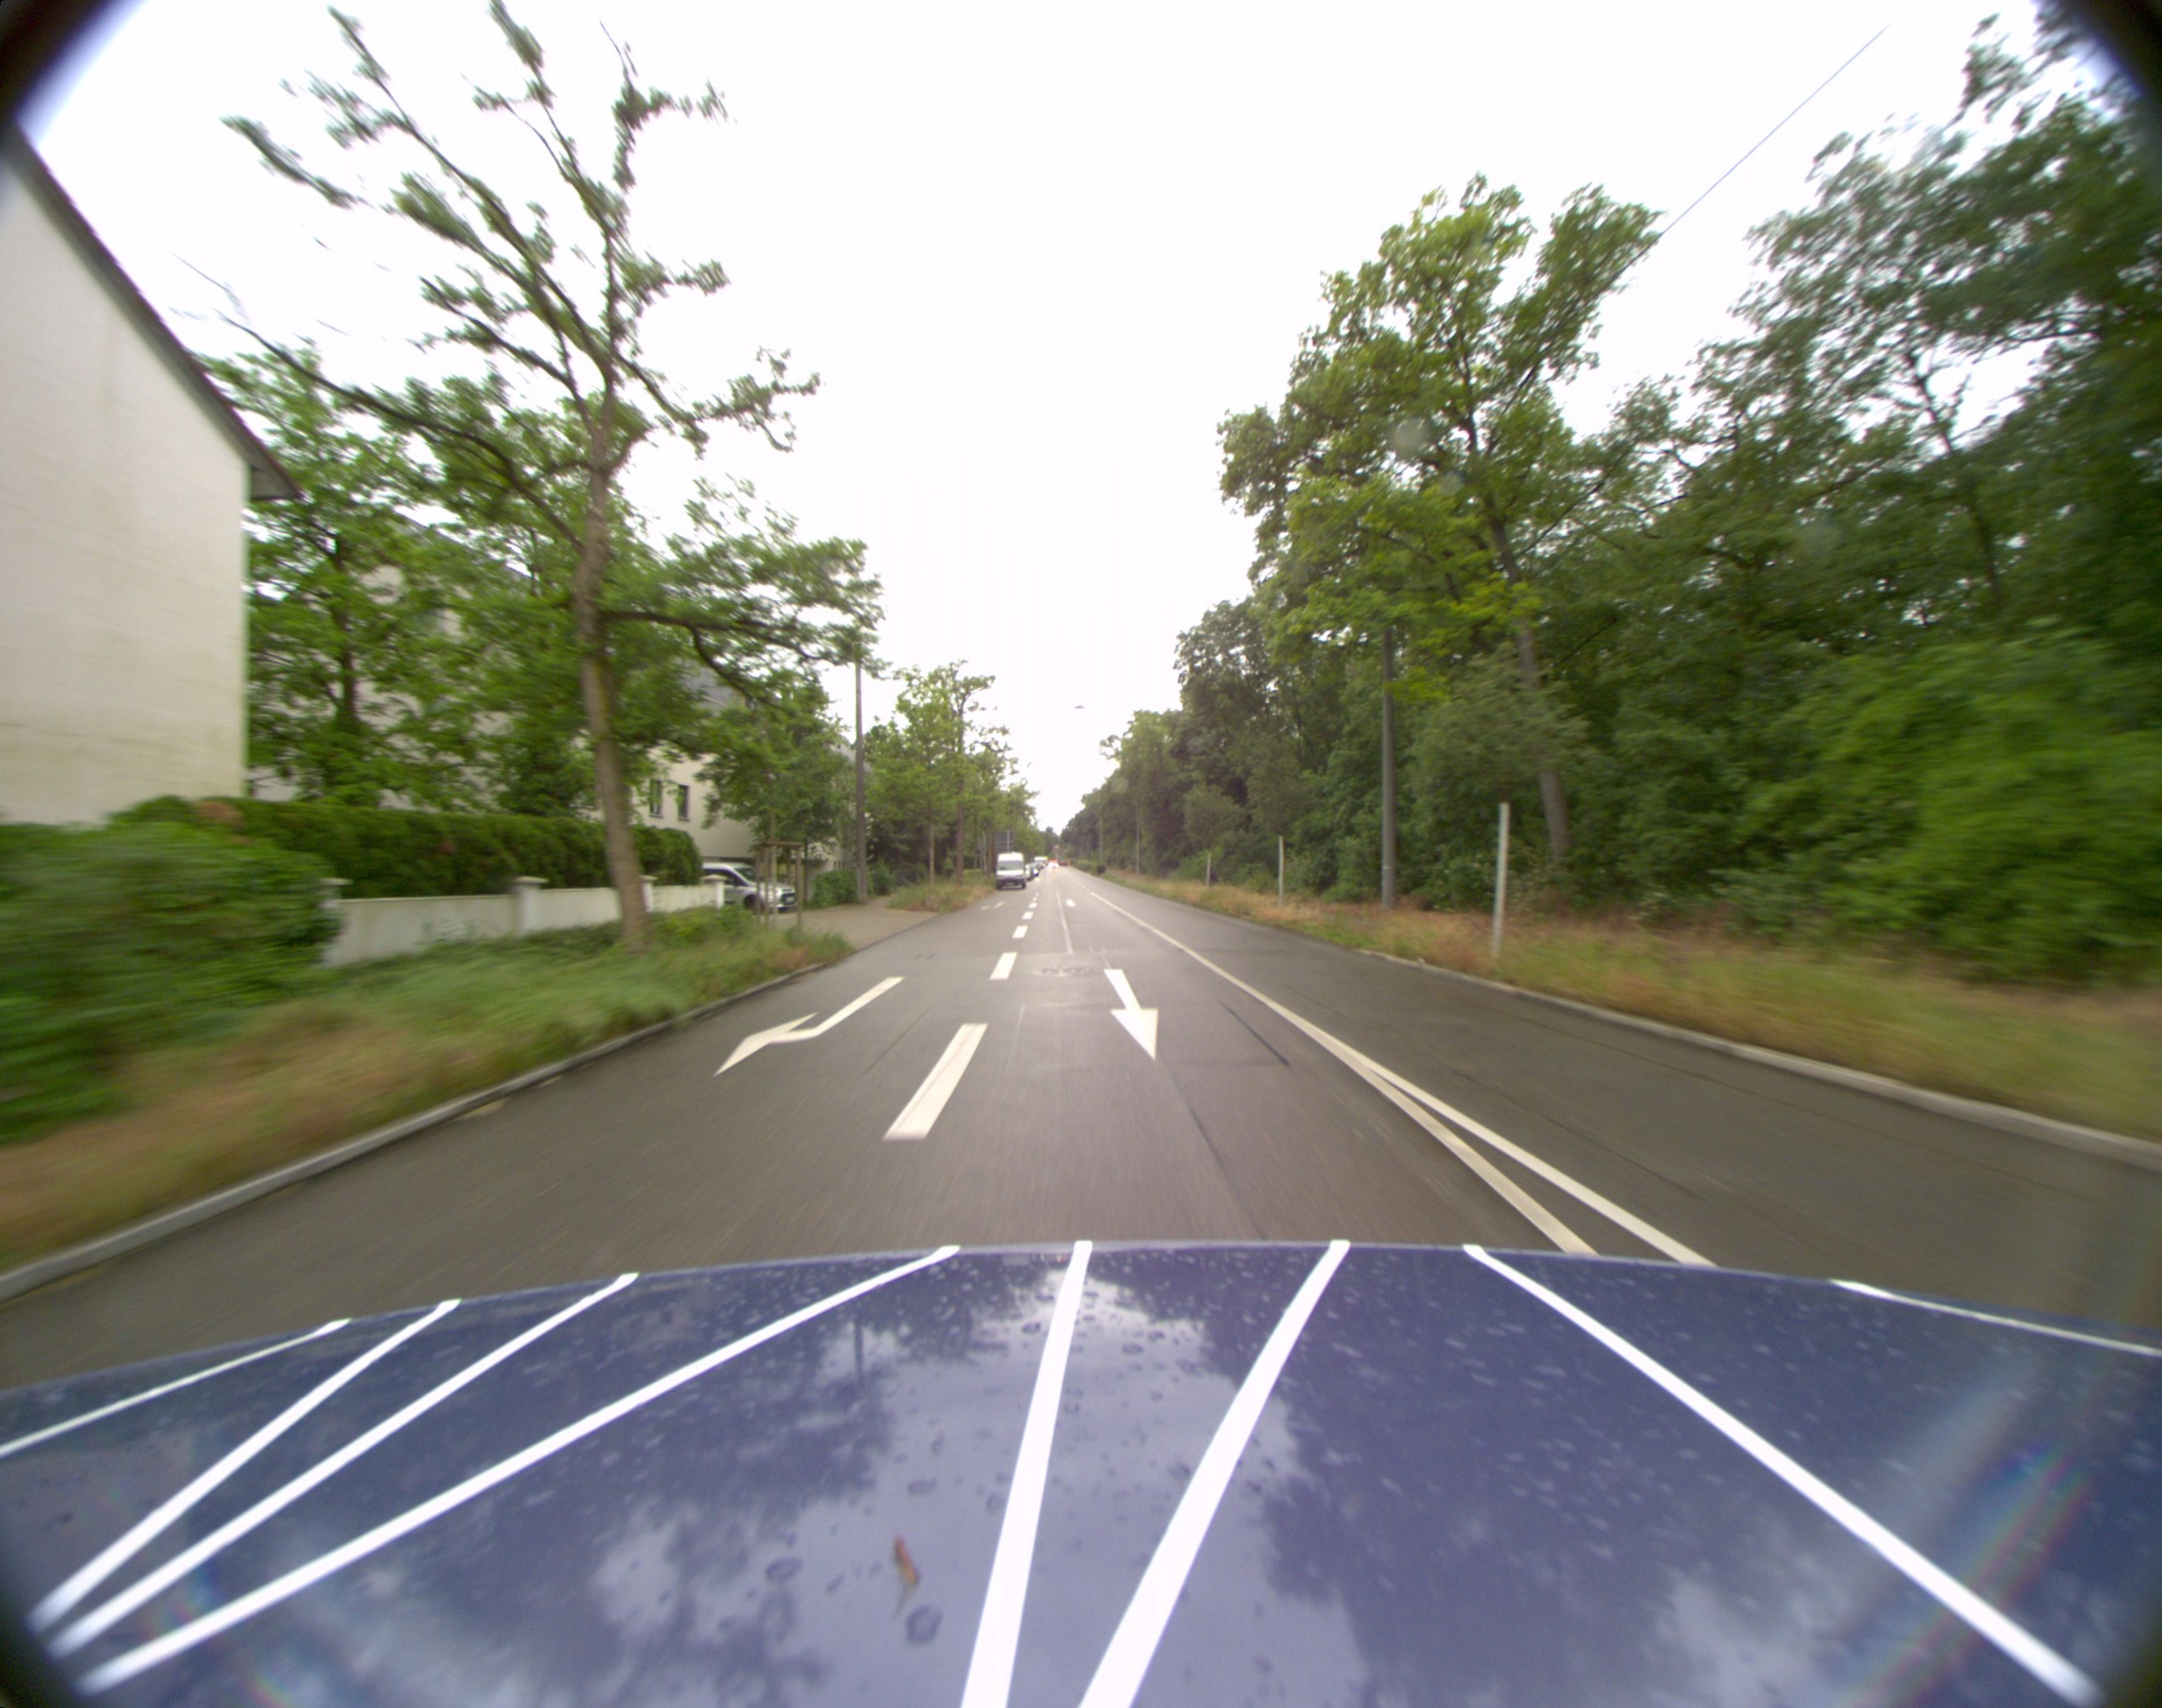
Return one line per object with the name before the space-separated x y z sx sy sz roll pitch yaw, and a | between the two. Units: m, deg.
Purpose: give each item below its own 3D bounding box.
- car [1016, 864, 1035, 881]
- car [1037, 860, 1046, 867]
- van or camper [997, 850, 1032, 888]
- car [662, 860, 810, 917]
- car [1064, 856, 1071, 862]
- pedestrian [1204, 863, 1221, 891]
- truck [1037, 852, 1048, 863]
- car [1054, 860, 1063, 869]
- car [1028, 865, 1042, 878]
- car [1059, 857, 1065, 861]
car | -5.376 1.799 73.698 1.576 1.463 3.764 -2 0 -2
car | -7.949 1.856 152.007 1.789 1.452 3.998 1 0 -3
van or camper | -4.694 1.031 54.327 2.042 2.465 5.637 -3 0 -2
car | -11.974 1.177 26.500 4.312 1.807 1.875 -2 0 9
car | -3.709 1.329 211.059 1.681 1.608 4.061 1 0 -3
pedestrian | 7.594 1.318 43.915 0.783 1.598 0.732 0 0 -3
truck | -8.353 0.843 164.296 2.230 2.321 5.112 1 0 -3
car | -5.081 2.383 170.522 1.999 2.002 3.999 -1 1 0
car | -5.463 2.058 90.593 1.622 1.459 4.409 -2 0 -3
car | -6.173 1.585 247.758 1.852 1.490 3.998 1 0 -4
